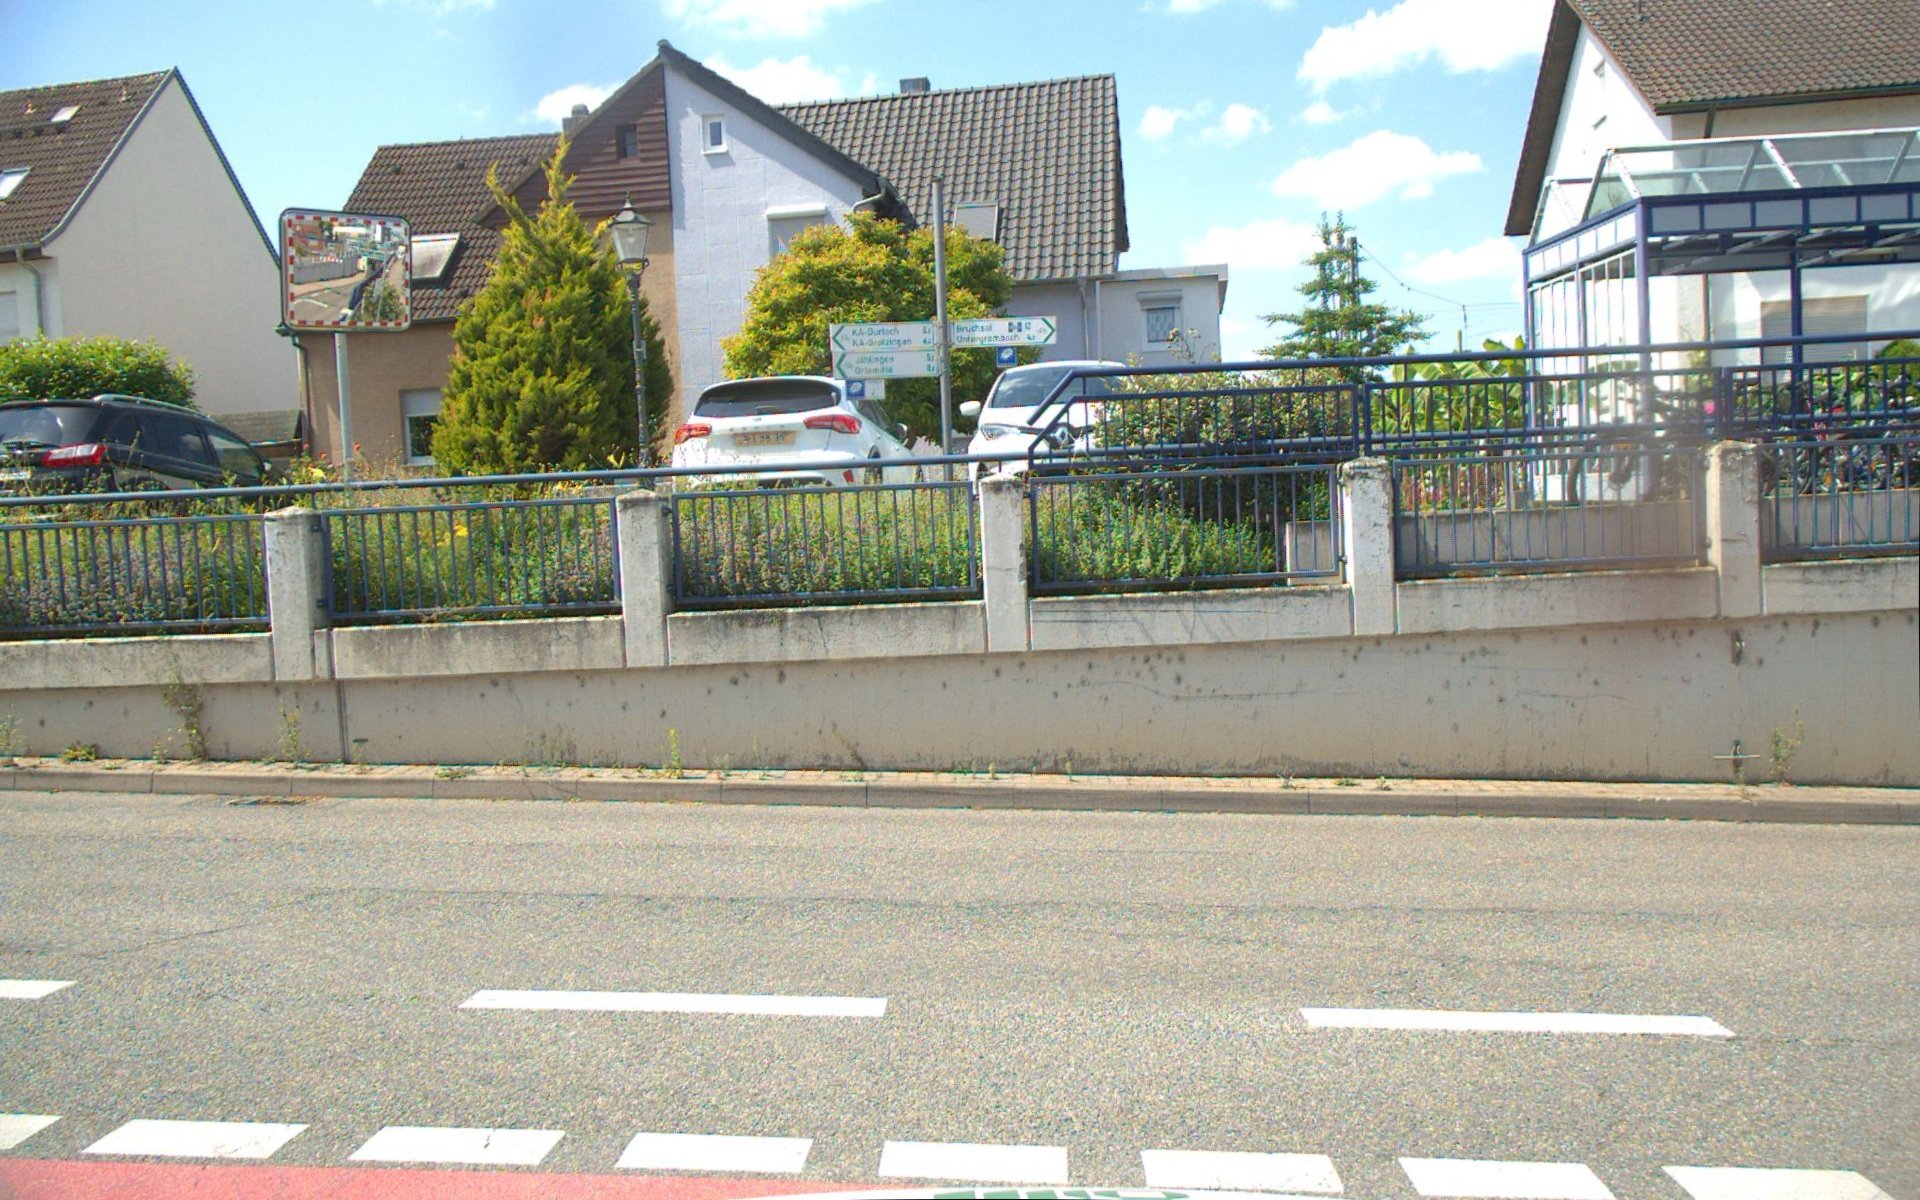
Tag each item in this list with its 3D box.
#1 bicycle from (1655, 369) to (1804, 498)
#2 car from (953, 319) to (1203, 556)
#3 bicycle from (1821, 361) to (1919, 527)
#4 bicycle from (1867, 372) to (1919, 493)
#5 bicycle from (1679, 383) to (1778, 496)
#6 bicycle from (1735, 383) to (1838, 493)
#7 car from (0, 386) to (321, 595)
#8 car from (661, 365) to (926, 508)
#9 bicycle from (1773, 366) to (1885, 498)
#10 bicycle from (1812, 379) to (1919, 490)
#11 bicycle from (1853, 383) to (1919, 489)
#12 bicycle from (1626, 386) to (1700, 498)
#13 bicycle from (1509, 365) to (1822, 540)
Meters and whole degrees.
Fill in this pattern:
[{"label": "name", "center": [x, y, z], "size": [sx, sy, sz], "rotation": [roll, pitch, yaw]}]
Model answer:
[{"label": "bicycle", "center": [6.689, -1.418, 14.480], "size": [0.325, 1.012, 2.076], "rotation": [-2, 3, 0]}, {"label": "car", "center": [1.154, -1.358, 15.248], "size": [1.951, 1.828, 4.200], "rotation": [1, 1, 6]}, {"label": "bicycle", "center": [7.258, -1.129, 11.757], "size": [2.071, 1.145, 0.392], "rotation": [-2, 3, 0]}, {"label": "bicycle", "center": [8.342, -1.431, 14.159], "size": [0.426, 1.012, 2.105], "rotation": [-1, 3, 12]}, {"label": "bicycle", "center": [7.517, -1.543, 16.243], "size": [0.365, 1.012, 1.968], "rotation": [-2, 3, 10]}, {"label": "bicycle", "center": [8.274, -1.592, 16.618], "size": [0.365, 1.012, 1.968], "rotation": [-2, 3, 10]}, {"label": "car", "center": [-8.302, -1.022, 16.665], "size": [1.828, 1.828, 4.003], "rotation": [1, 1, 6]}, {"label": "car", "center": [-1.429, -1.463, 15.494], "size": [1.786, 1.037, 3.462], "rotation": [1, 1, 6]}, {"label": "bicycle", "center": [7.332, -1.384, 14.020], "size": [0.426, 1.012, 2.104], "rotation": [-1, 3, 17]}, {"label": "bicycle", "center": [8.981, -1.607, 16.399], "size": [0.365, 1.012, 1.968], "rotation": [-2, 3, 10]}, {"label": "bicycle", "center": [9.613, -1.639, 16.532], "size": [0.417, 1.012, 1.967], "rotation": [-2, 3, 4]}, {"label": "bicycle", "center": [6.834, -1.510, 16.125], "size": [0.445, 1.012, 1.890], "rotation": [-1, 3, 17]}, {"label": "bicycle", "center": [4.998, -1.041, 11.742], "size": [2.071, 1.145, 0.333], "rotation": [-2, 3, 0]}]
